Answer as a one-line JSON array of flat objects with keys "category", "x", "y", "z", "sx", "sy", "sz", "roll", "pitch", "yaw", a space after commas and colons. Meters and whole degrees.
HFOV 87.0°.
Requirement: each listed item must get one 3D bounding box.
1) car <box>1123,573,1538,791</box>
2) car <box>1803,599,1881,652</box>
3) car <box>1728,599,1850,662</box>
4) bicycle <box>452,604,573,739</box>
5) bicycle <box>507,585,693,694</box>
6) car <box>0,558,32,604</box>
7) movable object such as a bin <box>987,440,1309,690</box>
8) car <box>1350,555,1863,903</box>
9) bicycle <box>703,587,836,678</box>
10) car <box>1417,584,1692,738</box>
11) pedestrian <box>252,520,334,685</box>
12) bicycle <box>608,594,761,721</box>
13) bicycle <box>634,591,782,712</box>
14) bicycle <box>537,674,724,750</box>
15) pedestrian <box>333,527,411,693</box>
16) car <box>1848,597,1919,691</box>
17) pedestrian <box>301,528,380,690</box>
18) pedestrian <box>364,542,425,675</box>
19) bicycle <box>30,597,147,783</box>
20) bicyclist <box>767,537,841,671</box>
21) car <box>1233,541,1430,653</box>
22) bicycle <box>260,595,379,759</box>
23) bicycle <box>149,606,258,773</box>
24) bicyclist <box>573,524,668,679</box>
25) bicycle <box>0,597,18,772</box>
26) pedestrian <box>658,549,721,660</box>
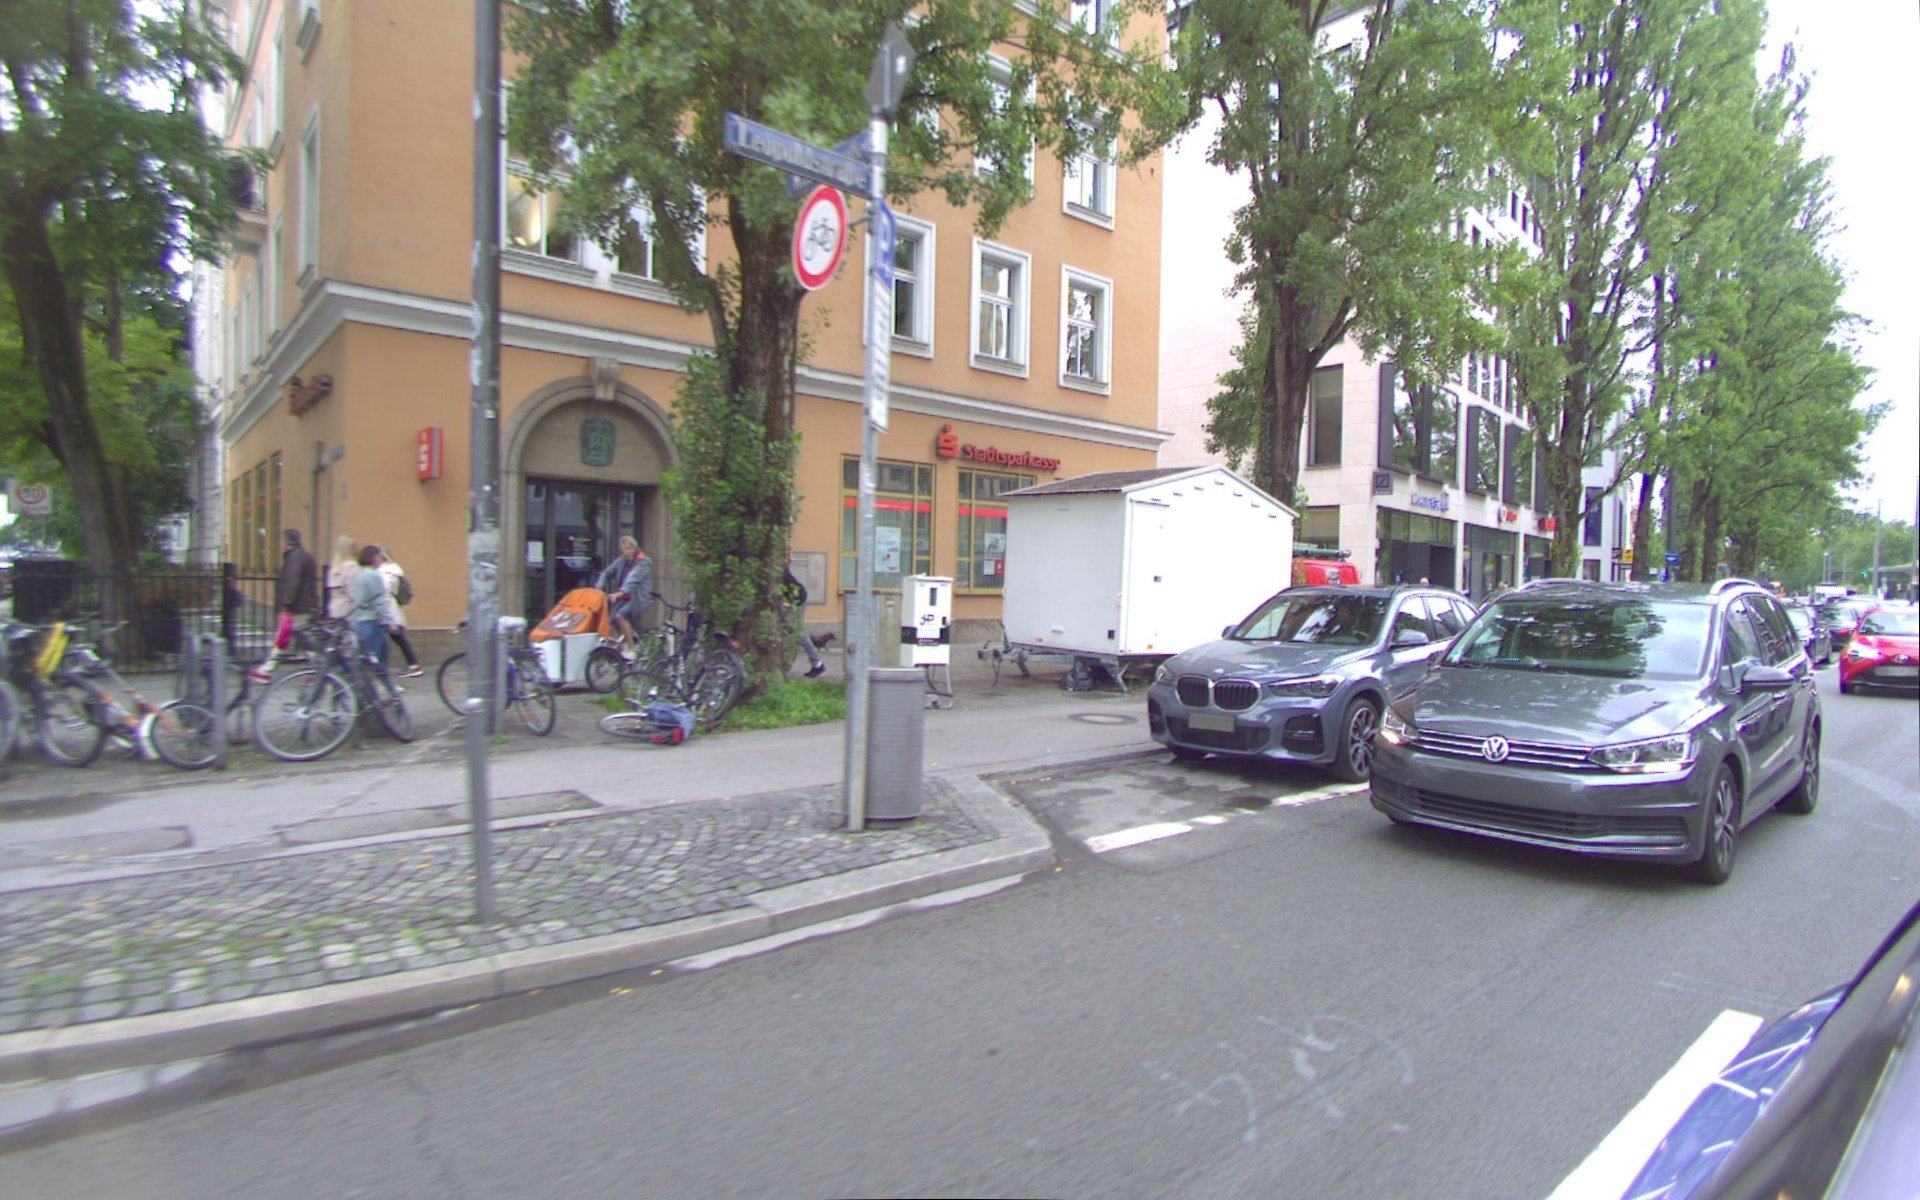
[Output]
[{"category": "car", "x": 3.627, "y": 0.584, "z": 9.447, "sx": 4.421, "sy": 1.572, "sz": 1.787, "roll": 0, "pitch": 0, "yaw": -42}, {"category": "car", "x": 27.784, "y": 0.751, "z": 31.828, "sx": 1.695, "sy": 1.535, "sz": 3.937, "roll": 0, "pitch": 0, "yaw": 43}, {"category": "car", "x": 20.023, "y": 0.683, "z": 24.387, "sx": 3.934, "sy": 1.378, "sz": 1.698, "roll": 0, "pitch": 0, "yaw": -42}, {"category": "bicycle", "x": -3.880, "y": 0.570, "z": 8.718, "sx": 1.597, "sy": 1.022, "sz": 0.337, "roll": 2, "pitch": 1, "yaw": 43}, {"category": "bicycle", "x": -4.135, "y": 0.404, "z": 11.824, "sx": 0.877, "sy": 1.134, "sz": 2.086, "roll": 1, "pitch": 1, "yaw": 23}, {"category": "car", "x": -43.436, "y": -0.827, "z": 45.804, "sx": 1.965, "sy": 2.039, "sz": 3.993, "roll": 0, "pitch": 0, "yaw": -41}, {"category": "movable object such as a bin", "x": 2.918, "y": -0.505, "z": 15.268, "sx": 4.464, "sy": 3.175, "sz": 2.445, "roll": 0, "pitch": 3, "yaw": -41}, {"category": "car", "x": 4.504, "y": 0.589, "z": 6.782, "sx": 4.120, "sy": 1.611, "sz": 1.880, "roll": 0, "pitch": 0, "yaw": -42}, {"category": "bicycle", "x": -2.558, "y": 0.392, "z": 13.870, "sx": 0.730, "sy": 1.134, "sz": 2.085, "roll": 1, "pitch": 1, "yaw": 24}, {"category": "car", "x": 7.690, "y": 0.641, "z": 12.903, "sx": 4.421, "sy": 1.634, "sz": 1.787, "roll": 0, "pitch": 0, "yaw": -42}, {"category": "pedestrian", "x": -7.567, "y": 0.023, "z": 11.476, "sx": 0.719, "sy": 1.788, "sz": 0.699, "roll": 0, "pitch": 0, "yaw": -38}, {"category": "bicycle", "x": -2.636, "y": 0.514, "z": 9.626, "sx": 1.587, "sy": 1.098, "sz": 0.339, "roll": 2, "pitch": 1, "yaw": 28}, {"category": "bicycle", "x": -2.497, "y": 0.477, "z": 9.962, "sx": 1.593, "sy": 1.098, "sz": 0.319, "roll": 2, "pitch": 1, "yaw": 28}, {"category": "bicycle", "x": -2.879, "y": 0.940, "z": 8.775, "sx": 1.671, "sy": 0.378, "sz": 0.818, "roll": 4, "pitch": 3, "yaw": 42}, {"category": "pedestrian", "x": -6.320, "y": 0.102, "z": 10.877, "sx": 0.617, "sy": 1.715, "sz": 0.566, "roll": 0, "pitch": 0, "yaw": 41}, {"category": "car", "x": 16.431, "y": 0.694, "z": 17.162, "sx": 3.934, "sy": 1.451, "sz": 1.614, "roll": 0, "pitch": 0, "yaw": -42}, {"category": "pedestrian", "x": -6.839, "y": 0.091, "z": 11.176, "sx": 0.631, "sy": 1.715, "sz": 0.567, "roll": 0, "pitch": 0, "yaw": 39}, {"category": "pedestrian", "x": -7.029, "y": 0.099, "z": 12.566, "sx": 0.564, "sy": 1.590, "sz": 0.699, "roll": 0, "pitch": 0, "yaw": -38}, {"category": "bicycle", "x": -6.103, "y": 0.552, "z": 7.132, "sx": 0.551, "sy": 1.089, "sz": 1.945, "roll": 1, "pitch": 1, "yaw": -40}, {"category": "bicyclist", "x": -2.053, "y": 0.047, "z": 13.390, "sx": 0.737, "sy": 1.708, "sz": 0.739, "roll": 1, "pitch": 1, "yaw": 12}, {"category": "car", "x": 7.773, "y": -0.059, "z": 21.126, "sx": 3.919, "sy": 2.149, "sz": 1.687, "roll": 1, "pitch": 1, "yaw": -30}, {"category": "bicycle", "x": -5.102, "y": 0.537, "z": 8.007, "sx": 0.551, "sy": 1.098, "sz": 1.945, "roll": 1, "pitch": 1, "yaw": -40}, {"category": "bicycle", "x": -5.655, "y": 0.590, "z": 7.521, "sx": 0.551, "sy": 1.022, "sz": 1.945, "roll": 0, "pitch": 1, "yaw": -40}, {"category": "bicyclist", "x": -4.025, "y": 0.003, "z": 12.015, "sx": 0.821, "sy": 1.779, "sz": 0.662, "roll": 1, "pitch": 1, "yaw": 22}, {"category": "bicycle", "x": -6.606, "y": 0.558, "z": 6.597, "sx": 0.551, "sy": 1.102, "sz": 1.945, "roll": 1, "pitch": 1, "yaw": -40}, {"category": "pedestrian", "x": -3.979, "y": 0.060, "z": 14.875, "sx": 0.652, "sy": 1.590, "sz": 0.745, "roll": 0, "pitch": 0, "yaw": -39}]
